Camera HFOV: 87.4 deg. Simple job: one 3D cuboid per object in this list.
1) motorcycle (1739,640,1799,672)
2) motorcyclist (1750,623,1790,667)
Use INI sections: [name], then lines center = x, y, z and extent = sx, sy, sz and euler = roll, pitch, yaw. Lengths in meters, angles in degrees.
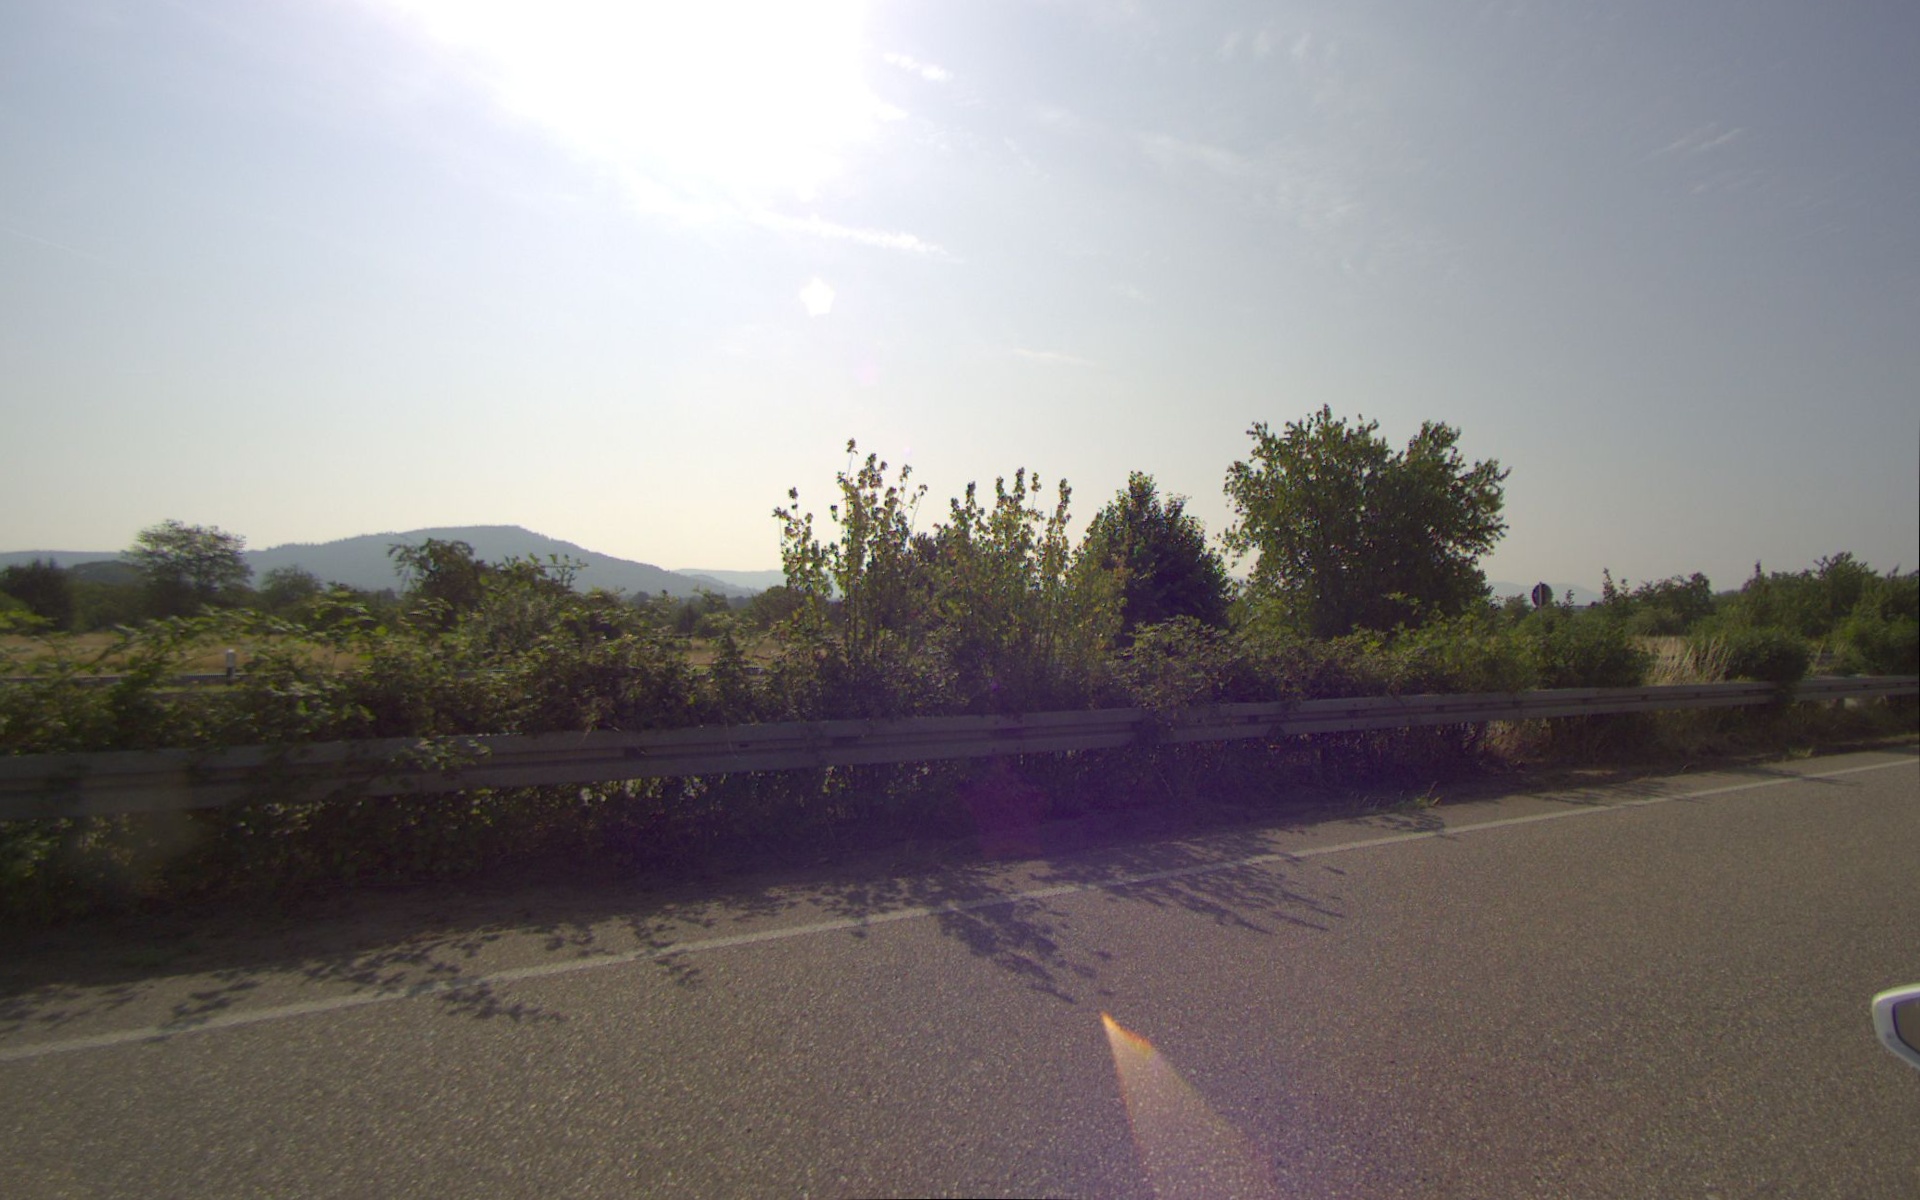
[motorcycle]
center = 25.498, 1.756, 31.653
extent = 2.257, 0.976, 0.701
euler = 1, -3, -30
[motorcyclist]
center = 25.572, 1.410, 31.707
extent = 0.798, 1.365, 0.701
euler = 1, -3, -30
